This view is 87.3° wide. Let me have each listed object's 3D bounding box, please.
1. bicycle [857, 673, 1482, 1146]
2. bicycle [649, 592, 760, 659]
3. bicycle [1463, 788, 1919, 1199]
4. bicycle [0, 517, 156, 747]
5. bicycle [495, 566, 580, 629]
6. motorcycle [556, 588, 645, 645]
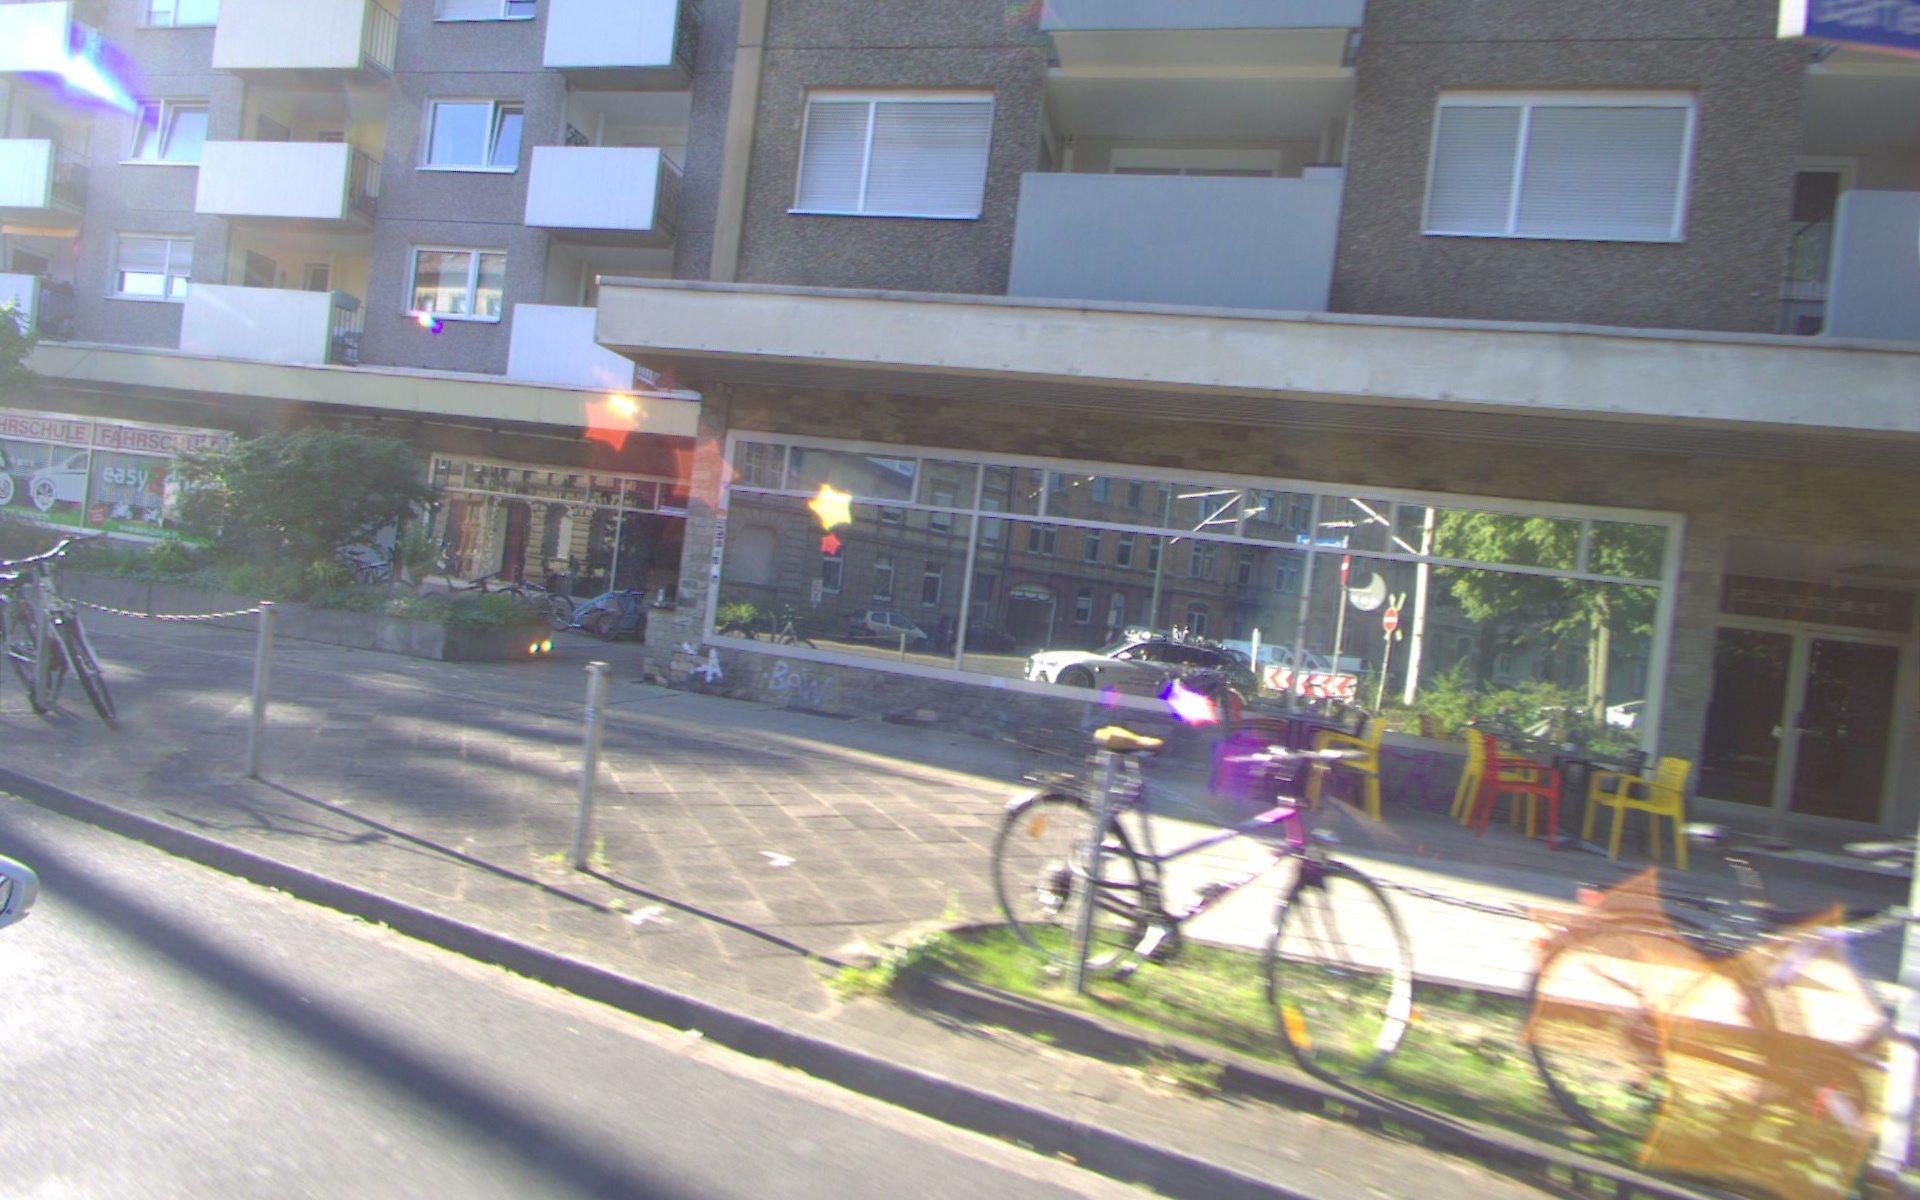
[{"bbox_3d":[0.640,0.924,3.653,2.057,1.035,0.638,7,1,38],"label":"bicycle"},{"bbox_3d":[-4.302,0.429,16.965,1.620,0.910,0.644,7,1,13],"label":"bicycle"},{"bbox_3d":[2.504,1.189,2.952,1.704,0.916,0.544,7,1,21],"label":"bicycle"},{"bbox_3d":[-5.956,0.136,6.513,2.057,1.241,0.638,7,1,38],"label":"bicycle"},{"bbox_3d":[-7.503,-0.044,17.883,1.299,0.954,0.433,7,1,13],"label":"bicycle"},{"bbox_3d":[-6.128,0.279,17.149,1.341,0.805,0.433,7,1,13],"label":"motorcycle"}]
